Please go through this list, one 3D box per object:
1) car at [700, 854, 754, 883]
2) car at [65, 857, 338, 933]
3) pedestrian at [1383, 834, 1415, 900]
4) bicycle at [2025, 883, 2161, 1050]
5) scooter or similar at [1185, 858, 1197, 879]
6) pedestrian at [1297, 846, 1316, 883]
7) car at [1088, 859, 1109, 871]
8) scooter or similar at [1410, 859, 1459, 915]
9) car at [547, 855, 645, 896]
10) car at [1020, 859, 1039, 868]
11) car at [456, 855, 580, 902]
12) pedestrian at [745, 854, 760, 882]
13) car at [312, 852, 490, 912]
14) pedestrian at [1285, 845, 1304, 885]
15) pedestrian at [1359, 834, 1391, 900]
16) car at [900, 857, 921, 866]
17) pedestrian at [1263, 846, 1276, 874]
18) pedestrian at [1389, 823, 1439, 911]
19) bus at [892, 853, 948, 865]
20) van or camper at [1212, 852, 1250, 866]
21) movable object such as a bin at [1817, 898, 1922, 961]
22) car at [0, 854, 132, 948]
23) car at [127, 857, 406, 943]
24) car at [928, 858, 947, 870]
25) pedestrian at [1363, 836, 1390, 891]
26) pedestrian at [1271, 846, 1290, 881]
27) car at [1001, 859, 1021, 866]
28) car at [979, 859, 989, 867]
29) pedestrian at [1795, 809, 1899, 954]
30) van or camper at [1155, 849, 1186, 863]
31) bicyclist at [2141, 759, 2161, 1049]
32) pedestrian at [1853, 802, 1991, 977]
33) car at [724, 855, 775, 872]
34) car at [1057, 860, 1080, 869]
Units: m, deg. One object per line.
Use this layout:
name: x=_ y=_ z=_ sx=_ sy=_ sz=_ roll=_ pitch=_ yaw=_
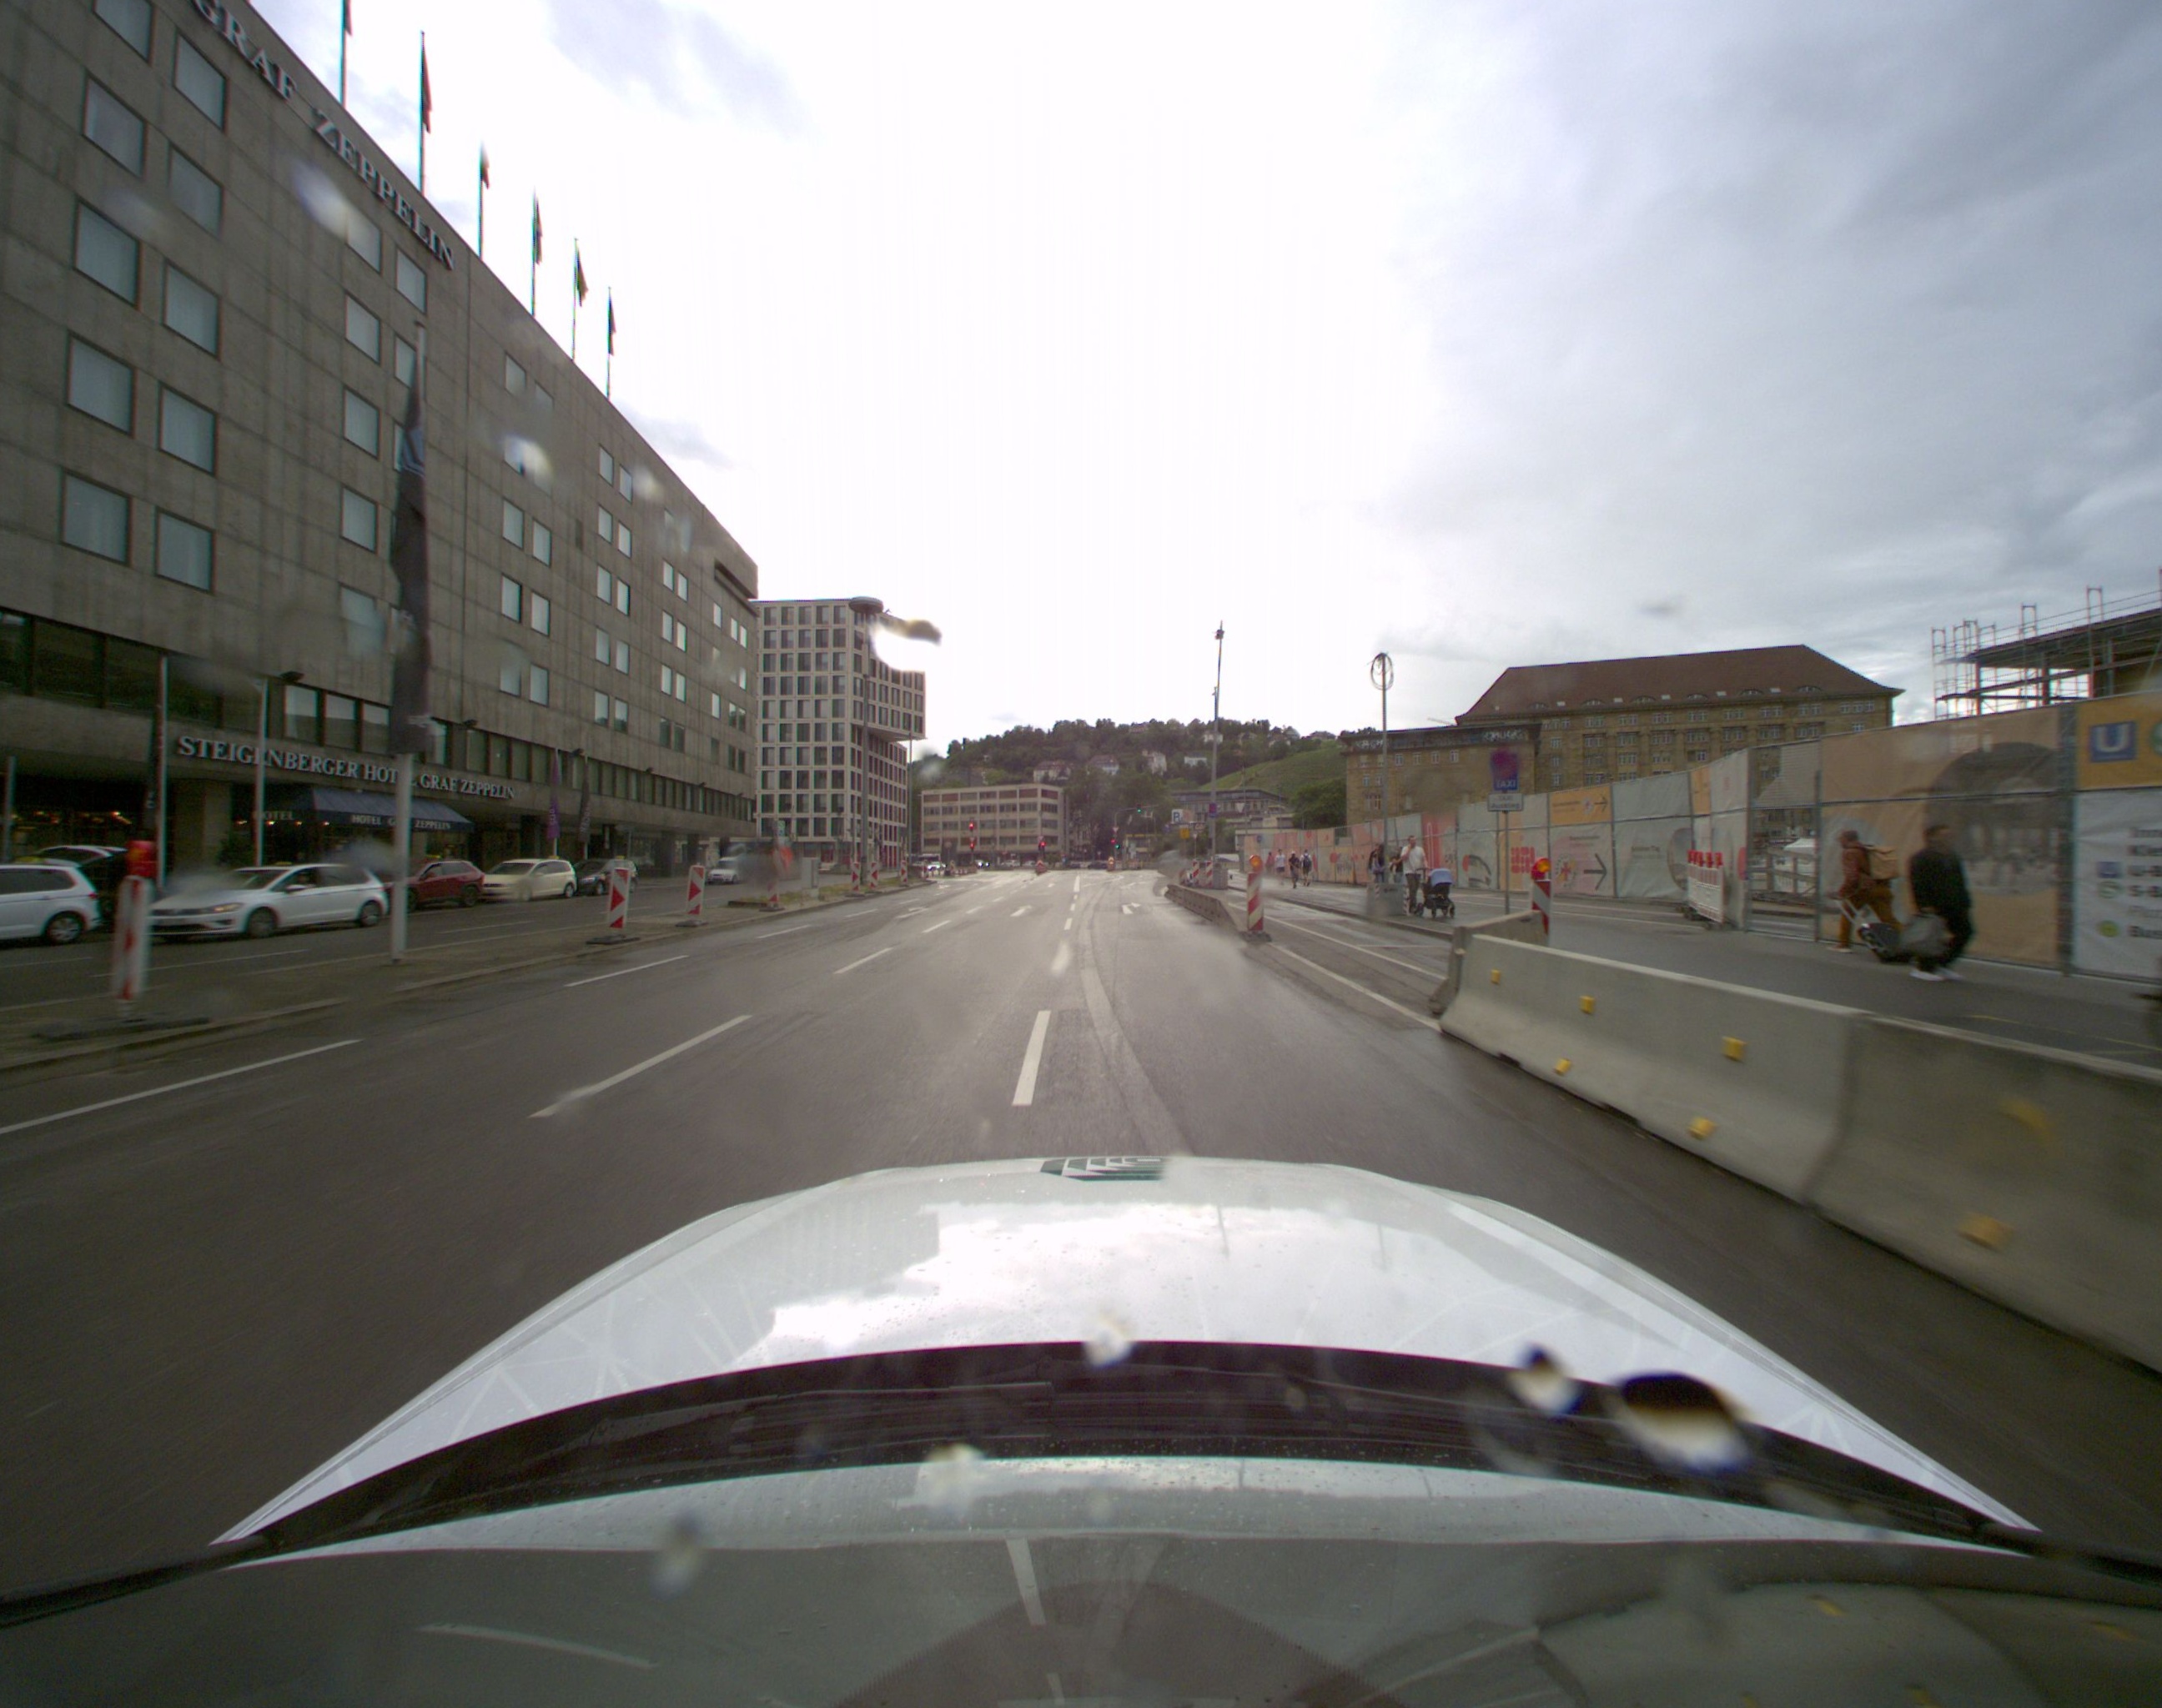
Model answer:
car: x=-22.926 y=0.913 z=52.876 sx=1.770 sy=1.762 sz=4.367 roll=0 pitch=0 yaw=-3
car: x=-21.561 y=0.906 z=20.320 sx=1.898 sy=1.659 sz=4.612 roll=0 pitch=0 yaw=-3
pedestrian: x=9.330 y=0.371 z=23.904 sx=0.681 sy=1.889 sz=0.694 roll=0 pitch=0 yaw=2
bicycle: x=7.789 y=0.786 z=5.423 sx=0.763 sy=1.112 sz=1.982 roll=0 pitch=0 yaw=2
scooter or similar: x=6.628 y=0.854 z=49.031 sx=0.671 sy=1.214 sz=1.574 roll=0 pitch=0 yaw=6
pedestrian: x=11.484 y=0.543 z=41.433 sx=0.701 sy=1.866 sz=0.990 roll=0 pitch=0 yaw=1
car: x=2.893 y=1.844 z=135.890 sx=2.004 sy=2.013 sz=3.965 roll=0 pitch=0 yaw=-27
scooter or similar: x=7.884 y=0.721 z=18.182 sx=0.662 sy=1.198 sz=1.044 roll=0 pitch=0 yaw=2
car: x=-21.999 y=0.953 z=37.149 sx=1.810 sy=1.728 sz=4.512 roll=0 pitch=-1 yaw=-1
car: x=-10.023 y=1.888 z=157.810 sx=1.807 sy=1.691 sz=3.958 roll=0 pitch=0 yaw=-36
car: x=-21.734 y=0.908 z=31.707 sx=1.812 sy=1.698 sz=4.573 roll=0 pitch=-1 yaw=-3
pedestrian: x=-22.436 y=0.971 z=55.639 sx=0.689 sy=1.886 sz=0.796 roll=0 pitch=0 yaw=0
car: x=-21.743 y=0.838 z=26.352 sx=1.896 sy=1.768 sz=4.645 roll=0 pitch=-1 yaw=-1
pedestrian: x=9.398 y=0.492 z=35.876 sx=0.640 sy=1.740 sz=0.837 roll=0 pitch=0 yaw=0
pedestrian: x=8.627 y=0.379 z=23.908 sx=0.681 sy=1.889 sz=0.694 roll=0 pitch=0 yaw=2
car: x=-32.134 y=1.397 z=153.753 sx=3.949 sy=1.816 sz=1.817 roll=0 pitch=0 yaw=40
pedestrian: x=12.922 y=0.412 z=55.846 sx=0.717 sy=1.866 sz=0.709 roll=0 pitch=0 yaw=-1
pedestrian: x=7.839 y=0.296 z=19.214 sx=0.799 sy=2.016 sz=0.972 roll=0 pitch=0 yaw=2
bus: x=-35.880 y=1.118 z=181.008 sx=13.796 sy=2.750 sz=3.232 roll=-1 pitch=0 yaw=31
van or camper: x=21.567 y=0.758 z=117.270 sx=5.180 sy=1.894 sz=1.887 roll=-1 pitch=0 yaw=-1
movable object such as a bin: x=10.087 y=0.956 z=10.447 sx=0.595 sy=0.734 sz=0.777 roll=0 pitch=0 yaw=-1
car: x=-21.047 y=0.884 z=15.015 sx=1.750 sy=1.758 sz=4.705 roll=-1 pitch=-1 yaw=-3
car: x=-17.757 y=0.902 z=18.146 sx=1.820 sy=1.669 sz=4.495 roll=0 pitch=0 yaw=-3
car: x=-23.114 y=1.600 z=131.463 sx=2.215 sy=1.753 sz=4.811 roll=-1 pitch=-1 yaw=0
pedestrian: x=10.379 y=0.339 z=28.583 sx=0.681 sy=1.889 sz=0.693 roll=0 pitch=0 yaw=-1
pedestrian: x=9.993 y=0.460 z=40.792 sx=0.681 sy=1.740 sz=0.907 roll=0 pitch=0 yaw=-1
car: x=-14.463 y=1.777 z=167.446 sx=4.025 sy=1.492 sz=1.747 roll=-1 pitch=0 yaw=37
car: x=-18.572 y=1.616 z=155.415 sx=1.829 sy=1.486 sz=3.989 roll=-1 pitch=0 yaw=-8
pedestrian: x=10.317 y=0.363 z=10.989 sx=0.764 sy=1.895 sz=0.654 roll=0 pitch=-1 yaw=2
van or camper: x=12.944 y=0.331 z=117.379 sx=4.230 sy=1.979 sz=1.850 roll=-1 pitch=0 yaw=-1
bicyclist: x=7.856 y=0.347 z=5.442 sx=0.724 sy=2.014 sz=0.599 roll=0 pitch=-1 yaw=2
pedestrian: x=9.429 y=0.390 z=9.161 sx=0.845 sy=1.895 sz=0.662 roll=0 pitch=-1 yaw=1
car: x=-38.337 y=1.076 z=94.358 sx=5.041 sy=1.904 sz=2.092 roll=-1 pitch=0 yaw=7
car: x=-2.218 y=1.881 z=147.327 sx=4.025 sy=1.492 sz=1.746 roll=-1 pitch=0 yaw=40
